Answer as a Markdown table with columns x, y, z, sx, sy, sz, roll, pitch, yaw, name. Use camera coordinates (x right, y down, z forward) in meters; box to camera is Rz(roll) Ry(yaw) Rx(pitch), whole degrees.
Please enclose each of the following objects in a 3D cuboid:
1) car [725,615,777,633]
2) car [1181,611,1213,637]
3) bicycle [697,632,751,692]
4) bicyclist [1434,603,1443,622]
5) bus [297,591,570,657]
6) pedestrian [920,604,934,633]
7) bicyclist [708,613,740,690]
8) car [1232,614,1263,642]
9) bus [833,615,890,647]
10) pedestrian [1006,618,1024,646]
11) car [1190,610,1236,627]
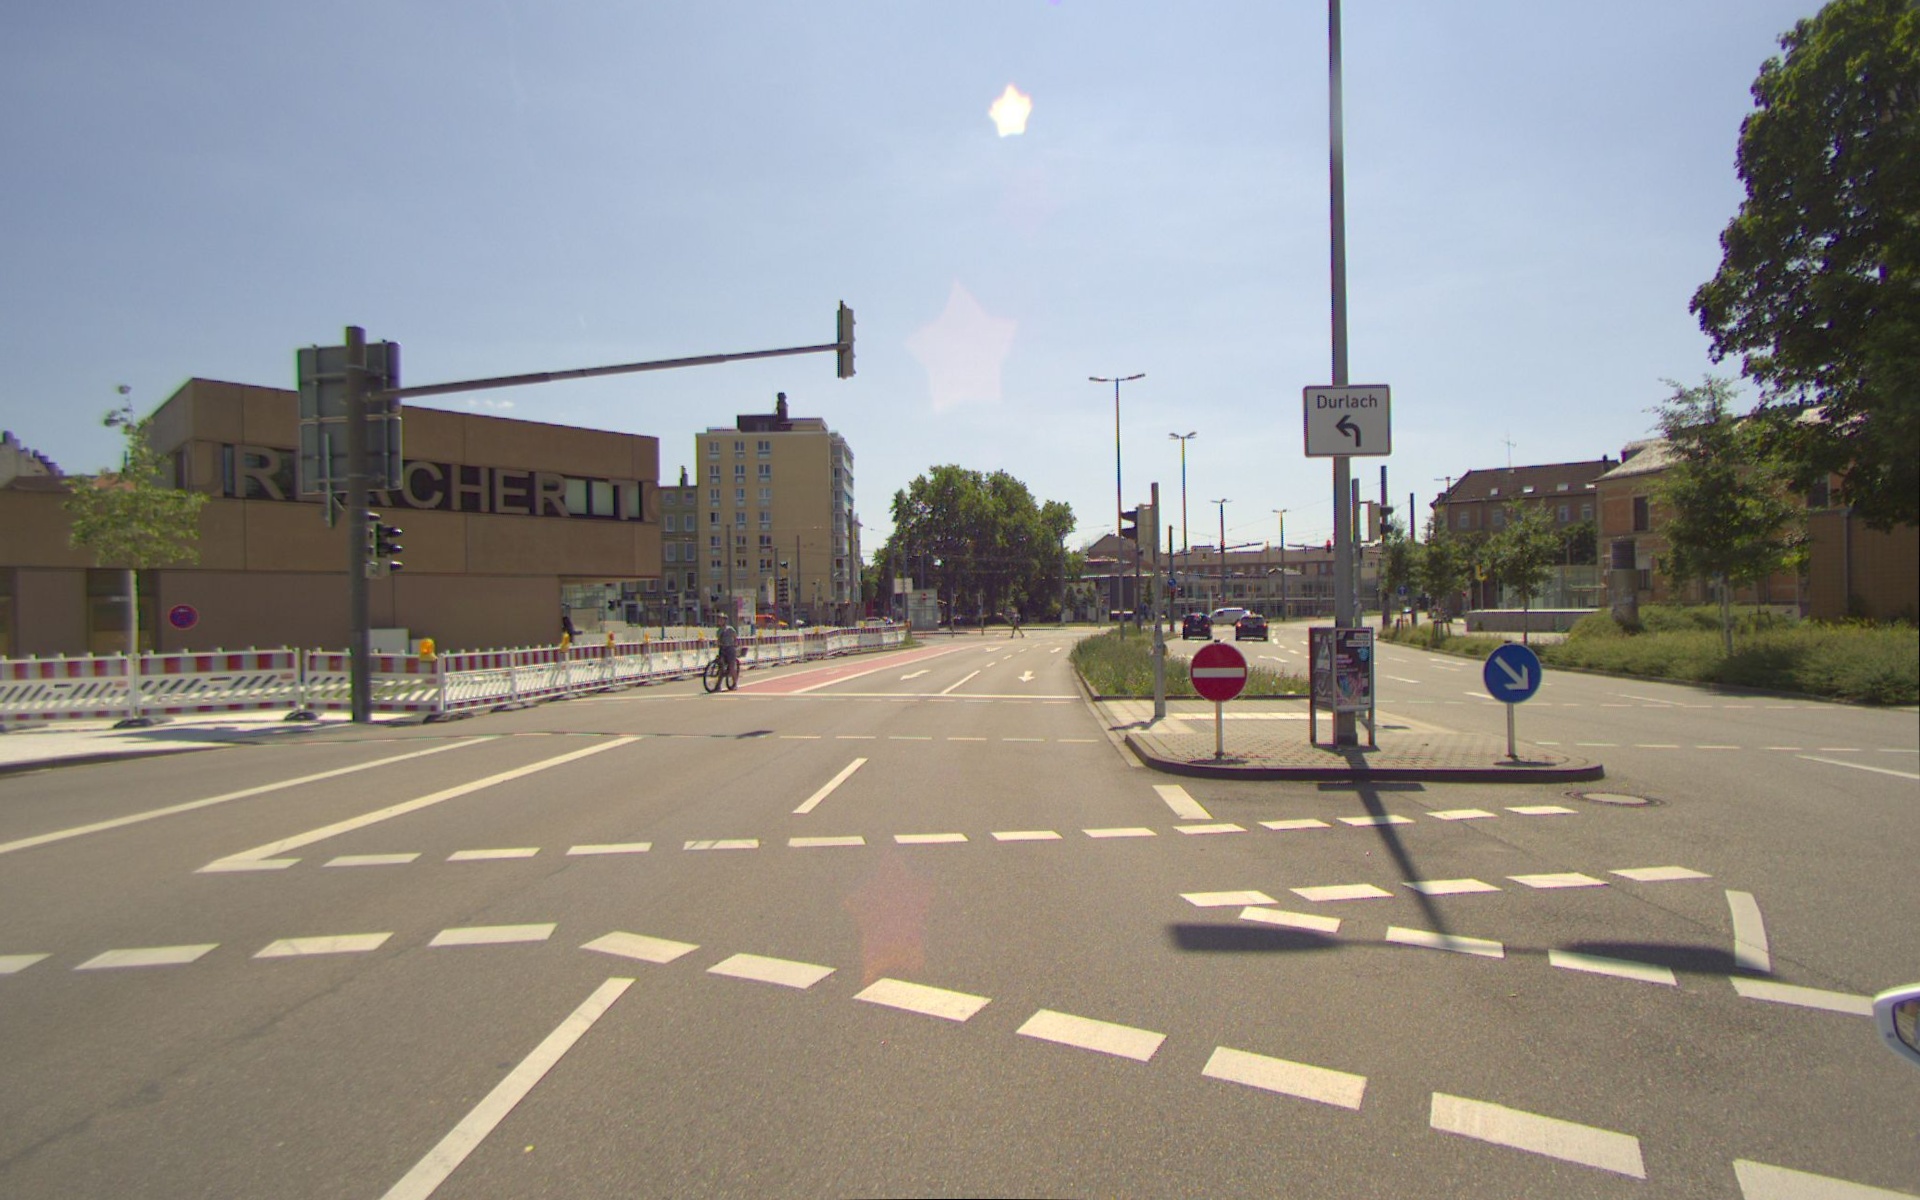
| x | y | z | sx | sy | sz | roll | pitch | yaw | name |
| --- | --- | --- | --- | --- | --- | --- | --- | --- | --- |
| -19.735 | 2.273 | 94.855 | 4.545 | 1.635 | 1.676 | -1 | 1 | 2 | car |
| 14.168 | 1.416 | 60.001 | 1.594 | 1.482 | 4.001 | -1 | -1 | 17 | car |
| -4.921 | 1.277 | 21.065 | 0.514 | 1.196 | 1.899 | -1 | -1 | 6 | bicycle |
| 51.376 | 1.345 | 107.920 | 0.750 | 1.964 | 0.660 | 0 | 2 | 16 | bicyclist |
| -27.171 | 1.182 | 52.678 | 3.687 | 3.082 | 12.182 | -2 | -1 | 43 | bus |
| -3.563 | 1.982 | 107.930 | 1.193 | 2.978 | 1.336 | 0 | 2 | 14 | pedestrian |
| -4.934 | 1.068 | 21.012 | 0.520 | 1.600 | 0.498 | -1 | -1 | 6 | bicyclist |
| 16.861 | 1.592 | 58.820 | 1.688 | 1.577 | 4.588 | -1 | -1 | 17 | car |
| -4.740 | 1.466 | 48.999 | 1.222 | 1.266 | 5.823 | 0 | 1 | 10 | bus |
| 3.865 | 2.264 | 70.969 | 1.159 | 1.959 | 0.903 | 0 | 2 | 11 | pedestrian |
| 26.227 | 1.901 | 104.097 | 4.237 | 1.649 | 1.814 | -1 | 1 | -3 | car |
